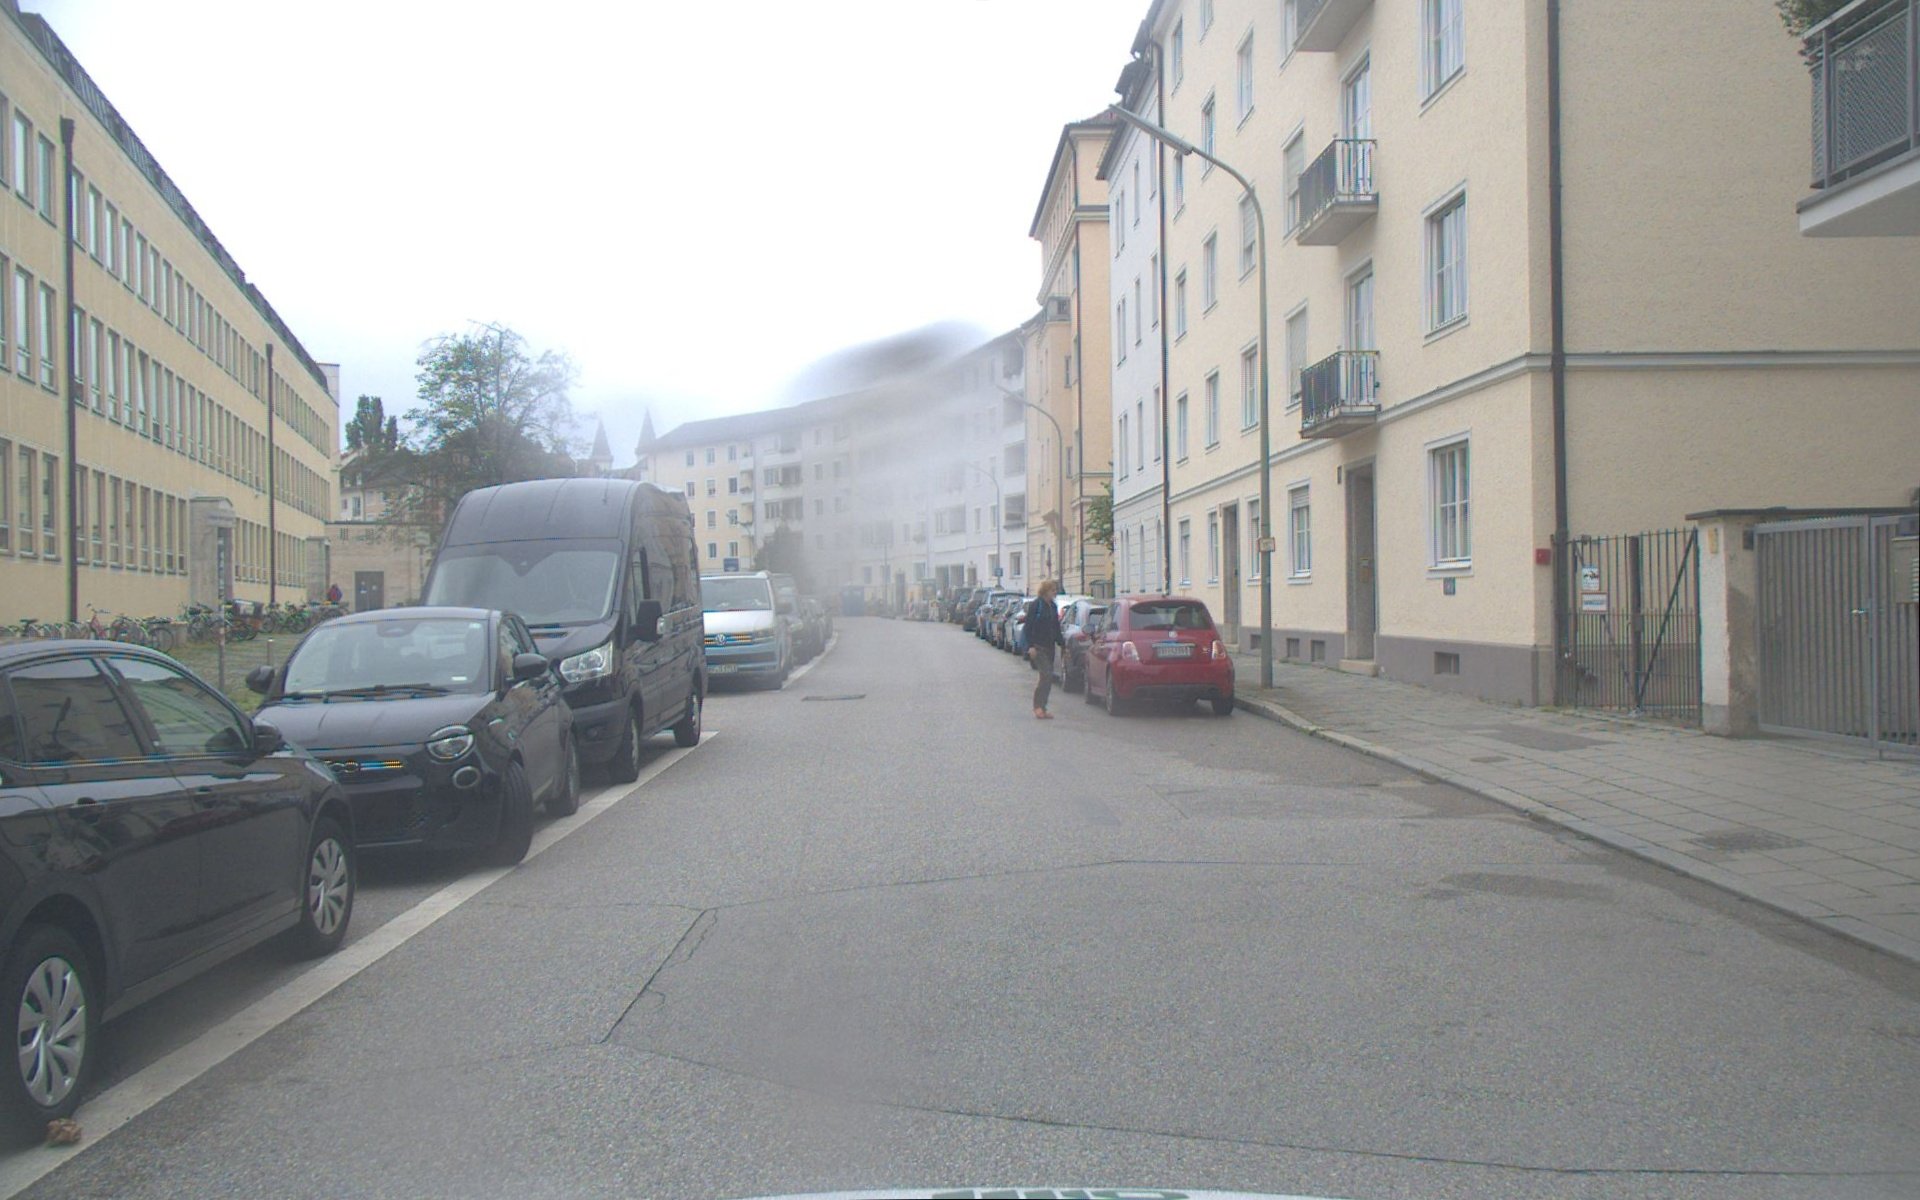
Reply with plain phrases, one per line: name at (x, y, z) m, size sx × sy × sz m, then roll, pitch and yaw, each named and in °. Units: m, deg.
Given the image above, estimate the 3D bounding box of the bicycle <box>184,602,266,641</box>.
bicycle at (-22.885, 0.660, 51.568) m, size 2.211 × 1.189 × 1.042 m, roll 0°, pitch 0°, yaw -17°

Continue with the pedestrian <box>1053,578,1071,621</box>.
pedestrian at (4.145, -0.034, 67.150) m, size 0.653 × 1.722 × 0.689 m, roll 1°, pitch -1°, yaw -2°

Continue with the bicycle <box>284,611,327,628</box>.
bicycle at (-28.602, 0.842, 72.299) m, size 1.712 × 0.727 × 0.611 m, roll -1°, pitch -1°, yaw -20°

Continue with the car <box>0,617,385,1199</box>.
car at (-3.460, 0.847, 5.917) m, size 1.667 × 1.471 × 3.822 m, roll 0°, pitch 1°, yaw -4°

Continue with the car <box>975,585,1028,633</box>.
car at (1.417, 0.295, 57.702) m, size 1.559 × 1.610 × 4.297 m, roll 0°, pitch 0°, yaw -3°

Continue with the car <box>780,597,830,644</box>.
car at (-5.158, 0.667, 55.328) m, size 1.592 × 1.444 × 3.977 m, roll -2°, pitch 0°, yaw -5°

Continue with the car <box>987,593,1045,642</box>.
car at (1.758, 0.534, 52.975) m, size 1.559 × 1.457 × 3.823 m, roll 0°, pitch 0°, yaw -3°

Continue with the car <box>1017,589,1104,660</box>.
car at (2.273, 0.529, 38.124) m, size 1.567 × 1.517 × 3.797 m, roll -1°, pitch 1°, yaw -3°

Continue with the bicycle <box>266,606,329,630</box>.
bicycle at (-24.677, 0.666, 61.626) m, size 2.173 × 0.849 × 0.492 m, roll -1°, pitch -1°, yaw -21°

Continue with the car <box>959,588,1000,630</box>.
car at (0.775, 0.338, 67.524) m, size 1.444 × 1.669 × 3.999 m, roll 0°, pitch 0°, yaw -3°

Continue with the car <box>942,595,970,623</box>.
car at (-0.207, 0.421, 79.432) m, size 1.246 × 1.321 × 2.796 m, roll 0°, pitch 0°, yaw -3°

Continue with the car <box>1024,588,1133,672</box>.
car at (2.308, 0.546, 33.152) m, size 1.658 × 1.517 × 4.280 m, roll -1°, pitch 0°, yaw -3°

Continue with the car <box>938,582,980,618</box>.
car at (-0.082, -0.007, 83.875) m, size 1.573 × 1.745 × 3.081 m, roll 0°, pitch 0°, yaw -11°

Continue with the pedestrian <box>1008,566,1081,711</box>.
pedestrian at (1.042, 0.482, 20.482) m, size 0.779 × 1.758 × 0.671 m, roll 1°, pitch -2°, yaw -9°

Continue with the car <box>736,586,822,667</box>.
car at (-4.204, 0.562, 38.867) m, size 1.668 × 1.720 × 4.026 m, roll -3°, pitch 1°, yaw -2°

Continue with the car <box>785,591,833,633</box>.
car at (-5.482, 0.416, 60.373) m, size 1.591 × 1.444 × 3.978 m, roll -2°, pitch 0°, yaw -4°

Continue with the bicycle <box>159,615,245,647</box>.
bicycle at (-21.448, 0.866, 46.845) m, size 2.173 × 0.849 × 0.492 m, roll -1°, pitch -1°, yaw -21°

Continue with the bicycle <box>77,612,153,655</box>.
bicycle at (-19.259, 0.757, 37.723) m, size 1.503 × 0.971 × 0.364 m, roll 0°, pitch 0°, yaw -18°

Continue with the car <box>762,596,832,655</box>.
car at (-4.340, 0.644, 44.445) m, size 1.591 × 1.437 × 3.797 m, roll -3°, pitch 0°, yaw -2°

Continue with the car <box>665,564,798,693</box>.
car at (-3.866, 0.428, 28.648) m, size 1.845 × 1.965 × 4.598 m, roll -3°, pitch 1°, yaw -4°

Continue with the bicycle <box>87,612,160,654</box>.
bicycle at (-19.819, 0.784, 39.215) m, size 1.503 × 0.971 × 0.364 m, roll 0°, pitch 0°, yaw -18°

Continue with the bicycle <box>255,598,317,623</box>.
bicycle at (-26.341, 0.400, 64.668) m, size 2.173 × 0.911 × 0.644 m, roll -1°, pitch -1°, yaw -20°

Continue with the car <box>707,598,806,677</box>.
car at (-4.054, 0.718, 33.358) m, size 1.619 × 1.397 × 3.651 m, roll -3°, pitch 1°, yaw -2°

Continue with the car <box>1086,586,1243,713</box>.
car at (2.681, 0.608, 22.390) m, size 1.563 × 1.535 × 3.800 m, roll -1°, pitch 0°, yaw -1°

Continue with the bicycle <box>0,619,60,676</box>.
bicycle at (-16.462, 0.820, 28.612) m, size 1.503 × 0.971 × 0.364 m, roll 0°, pitch 0°, yaw -18°

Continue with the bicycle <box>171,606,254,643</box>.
bicycle at (-22.088, 0.717, 48.892) m, size 2.173 × 1.056 × 0.492 m, roll -1°, pitch -1°, yaw -21°

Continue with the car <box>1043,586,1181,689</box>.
car at (2.413, 0.581, 27.274) m, size 1.658 × 1.517 × 4.340 m, roll -1°, pitch 0°, yaw -3°

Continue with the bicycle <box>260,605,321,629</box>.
bicycle at (-25.199, 0.649, 62.258) m, size 2.087 × 0.849 × 0.644 m, roll -1°, pitch -1°, yaw -20°

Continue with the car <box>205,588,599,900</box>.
car at (-3.338, 0.764, 10.542) m, size 1.555 × 1.565 × 3.539 m, roll -3°, pitch 0°, yaw -6°

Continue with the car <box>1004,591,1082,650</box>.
car at (2.134, 0.533, 43.264) m, size 1.658 × 1.457 × 3.942 m, roll 0°, pitch 0°, yaw -3°

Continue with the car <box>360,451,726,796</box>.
car at (-3.662, 0.153, 15.706) m, size 2.045 × 2.682 × 5.377 m, roll -1°, pitch 1°, yaw 0°
